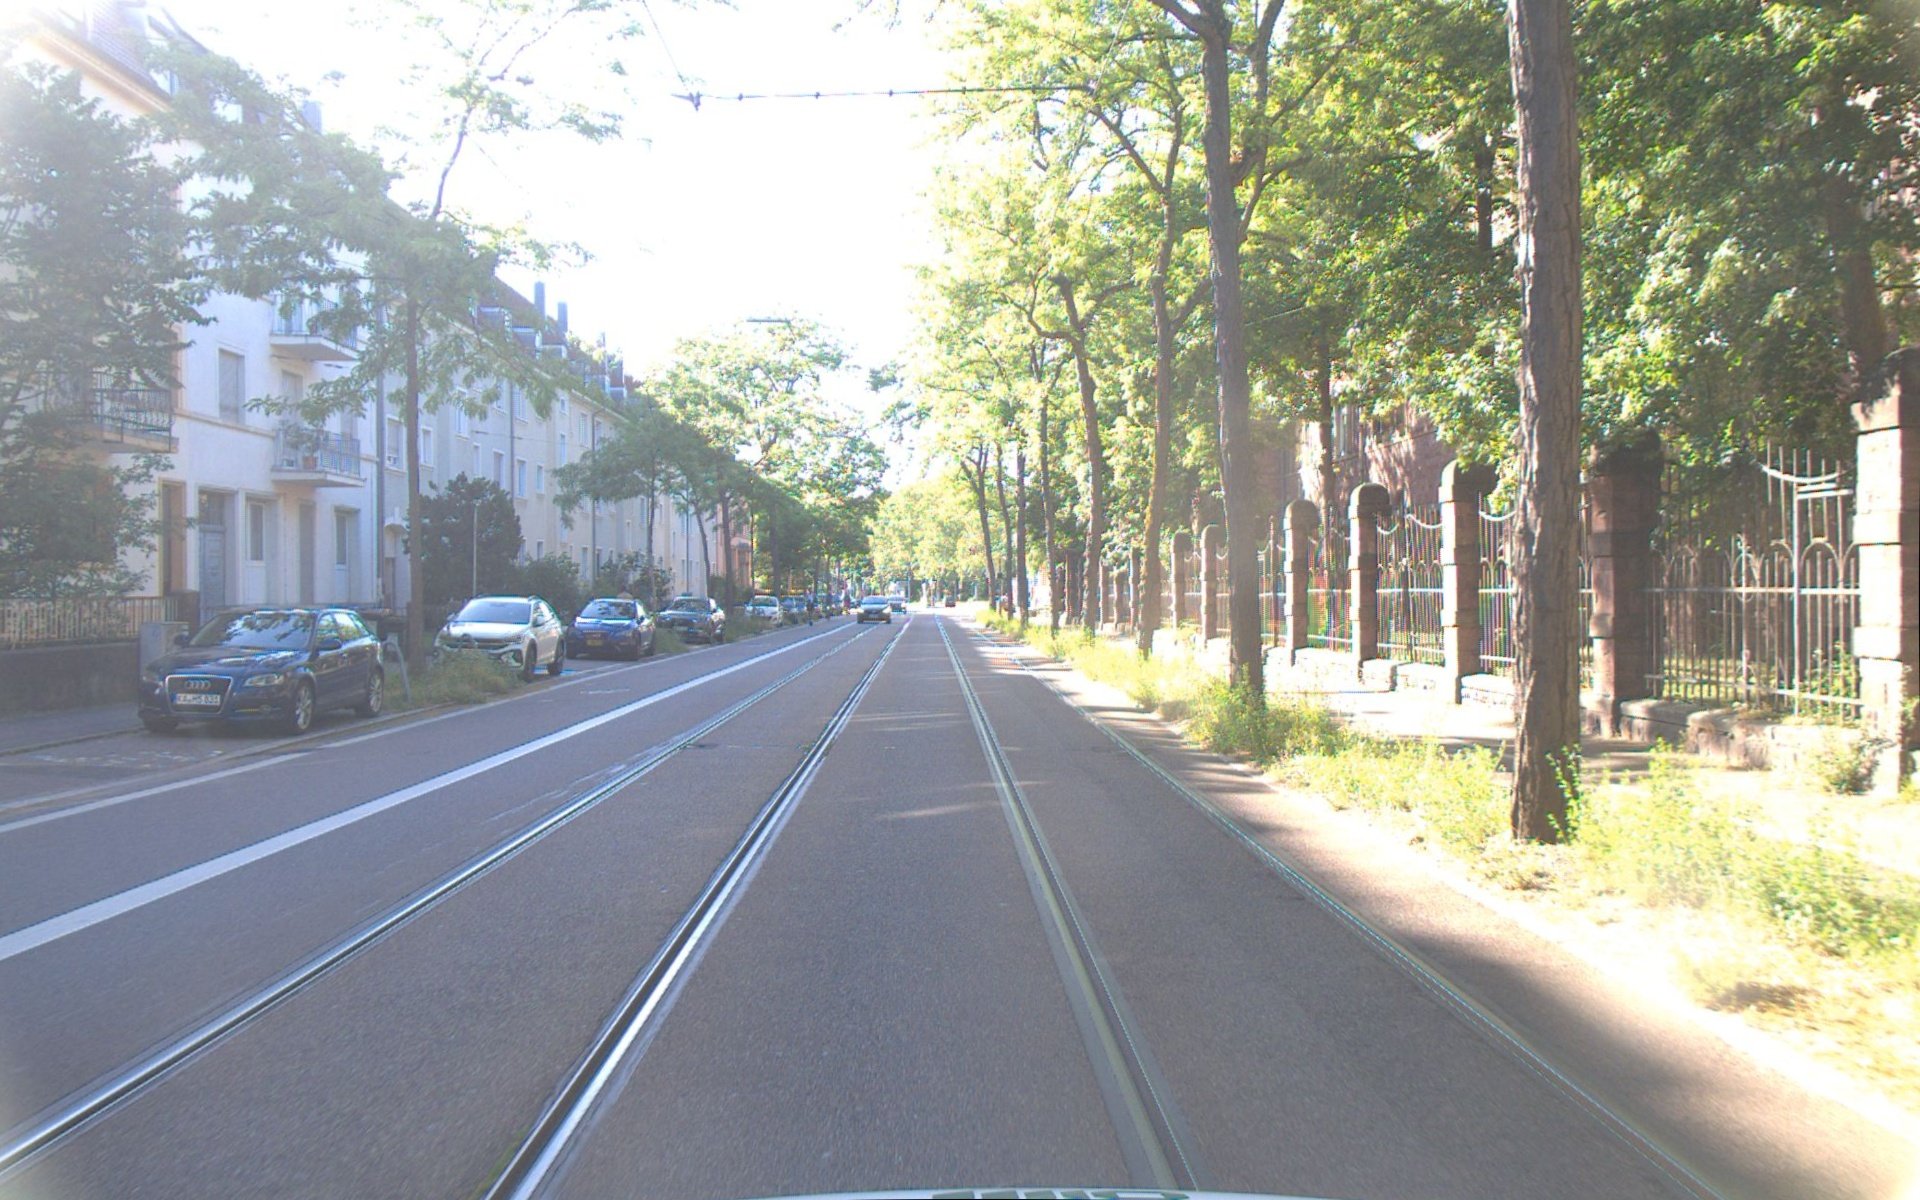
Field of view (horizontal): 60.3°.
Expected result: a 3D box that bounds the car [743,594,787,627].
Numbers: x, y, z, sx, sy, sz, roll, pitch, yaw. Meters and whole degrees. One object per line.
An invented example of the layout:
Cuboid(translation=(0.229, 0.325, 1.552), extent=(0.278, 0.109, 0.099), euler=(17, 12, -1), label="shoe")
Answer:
Cuboid(translation=(-9.525, 0.504, 80.980), extent=(1.668, 1.511, 4.078), euler=(2, 0, -1), label="car")

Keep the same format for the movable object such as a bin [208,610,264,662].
Cuboid(translation=(-15.243, 0.751, 34.837), extent=(0.827, 1.064, 0.733), euler=(2, 0, 2), label="movable object such as a bin")

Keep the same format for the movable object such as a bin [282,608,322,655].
Cuboid(translation=(-14.344, 0.675, 36.064), extent=(0.548, 0.992, 0.733), euler=(2, 0, 2), label="movable object such as a bin")

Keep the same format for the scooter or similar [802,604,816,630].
Cuboid(translation=(-7.793, 0.883, 85.386), extent=(0.510, 1.320, 1.377), euler=(-3, 0, -1), label="scooter or similar")

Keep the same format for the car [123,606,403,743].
Cuboid(translation=(-8.262, 0.816, 20.055), extent=(1.671, 1.431, 4.332), euler=(1, 0, -2), label="car")

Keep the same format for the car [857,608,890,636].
Cuboid(translation=(-4.600, 1.159, 88.606), extent=(1.722, 1.464, 4.521), euler=(0, 0, -2), label="car")

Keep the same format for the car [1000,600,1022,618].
Cuboid(translation=(4.873, 0.840, 157.268), extent=(1.802, 1.684, 3.577), euler=(0, 0, -3), label="car")

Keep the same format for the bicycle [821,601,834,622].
Cuboid(translation=(-7.944, 0.700, 99.382), extent=(0.614, 1.198, 1.912), euler=(-3, 0, -1), label="bicycle")

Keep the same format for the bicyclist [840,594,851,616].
Cuboid(translation=(-8.541, 0.366, 123.081), extent=(0.695, 1.635, 0.865), euler=(-3, 0, -1), label="bicyclist")

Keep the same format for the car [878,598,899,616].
Cuboid(translation=(-5.863, 0.543, 135.647), extent=(1.665, 1.464, 4.069), euler=(0, 0, -2), label="car")

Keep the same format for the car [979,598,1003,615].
Cuboid(translation=(3.130, 0.659, 168.973), extent=(1.905, 1.638, 3.994), euler=(0, 0, -6), label="car")

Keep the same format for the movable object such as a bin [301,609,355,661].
Cuboid(translation=(-13.478, 0.738, 35.266), extent=(0.827, 1.064, 0.733), euler=(2, 0, 2), label="movable object such as a bin")

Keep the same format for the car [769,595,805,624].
Cuboid(translation=(-9.356, 0.492, 89.615), extent=(1.653, 1.511, 3.758), euler=(2, 0, -2), label="car")

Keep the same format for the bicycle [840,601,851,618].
Cuboid(translation=(-8.524, 0.727, 123.157), extent=(0.680, 1.198, 1.912), euler=(-3, 0, -1), label="bicycle")

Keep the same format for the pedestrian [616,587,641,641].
Cuboid(translation=(-11.360, 0.485, 56.659), extent=(0.677, 1.833, 0.813), euler=(-1, 0, -1), label="pedestrian")

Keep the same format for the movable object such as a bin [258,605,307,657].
Cuboid(translation=(-14.349, 0.643, 35.040), extent=(0.693, 1.064, 0.733), euler=(2, 0, 2), label="movable object such as a bin")

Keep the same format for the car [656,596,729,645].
Cuboid(translation=(-8.832, 0.657, 54.922), extent=(1.780, 1.511, 4.205), euler=(1, 0, -1), label="car")

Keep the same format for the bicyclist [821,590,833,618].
Cuboid(translation=(-7.969, 0.235, 99.287), extent=(0.613, 1.667, 0.940), euler=(-3, 0, -1), label="bicyclist")

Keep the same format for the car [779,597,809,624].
Cuboid(translation=(-9.938, 0.623, 99.208), extent=(1.529, 1.482, 3.928), euler=(2, 0, -3), label="car")

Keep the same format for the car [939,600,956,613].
Cuboid(translation=(-1.696, 0.827, 220.531), extent=(1.905, 1.638, 3.994), euler=(0, 0, -7), label="car")

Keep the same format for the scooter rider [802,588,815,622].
Cuboid(translation=(-7.827, 0.271, 85.419), extent=(0.486, 1.729, 0.786), euler=(-3, 0, -1), label="scooter rider")

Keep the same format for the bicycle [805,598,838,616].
Cuboid(translation=(-9.920, 0.484, 118.148), extent=(2.236, 1.219, 0.560), euler=(2, 1, 5), label="bicycle")

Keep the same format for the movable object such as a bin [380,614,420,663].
Cuboid(translation=(-11.924, 0.815, 35.238), extent=(0.548, 0.992, 0.733), euler=(2, 0, 2), label="movable object such as a bin")

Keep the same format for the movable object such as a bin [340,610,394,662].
Cuboid(translation=(-12.630, 0.770, 35.252), extent=(0.827, 1.064, 0.733), euler=(2, 0, 2), label="movable object such as a bin")

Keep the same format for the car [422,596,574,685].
Cuboid(translation=(-8.664, 0.709, 31.382), extent=(1.781, 1.537, 4.369), euler=(1, 0, -2), label="car")

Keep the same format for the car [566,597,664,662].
Cuboid(translation=(-8.694, 0.700, 42.002), extent=(1.722, 1.537, 4.437), euler=(1, 0, -2), label="car")
